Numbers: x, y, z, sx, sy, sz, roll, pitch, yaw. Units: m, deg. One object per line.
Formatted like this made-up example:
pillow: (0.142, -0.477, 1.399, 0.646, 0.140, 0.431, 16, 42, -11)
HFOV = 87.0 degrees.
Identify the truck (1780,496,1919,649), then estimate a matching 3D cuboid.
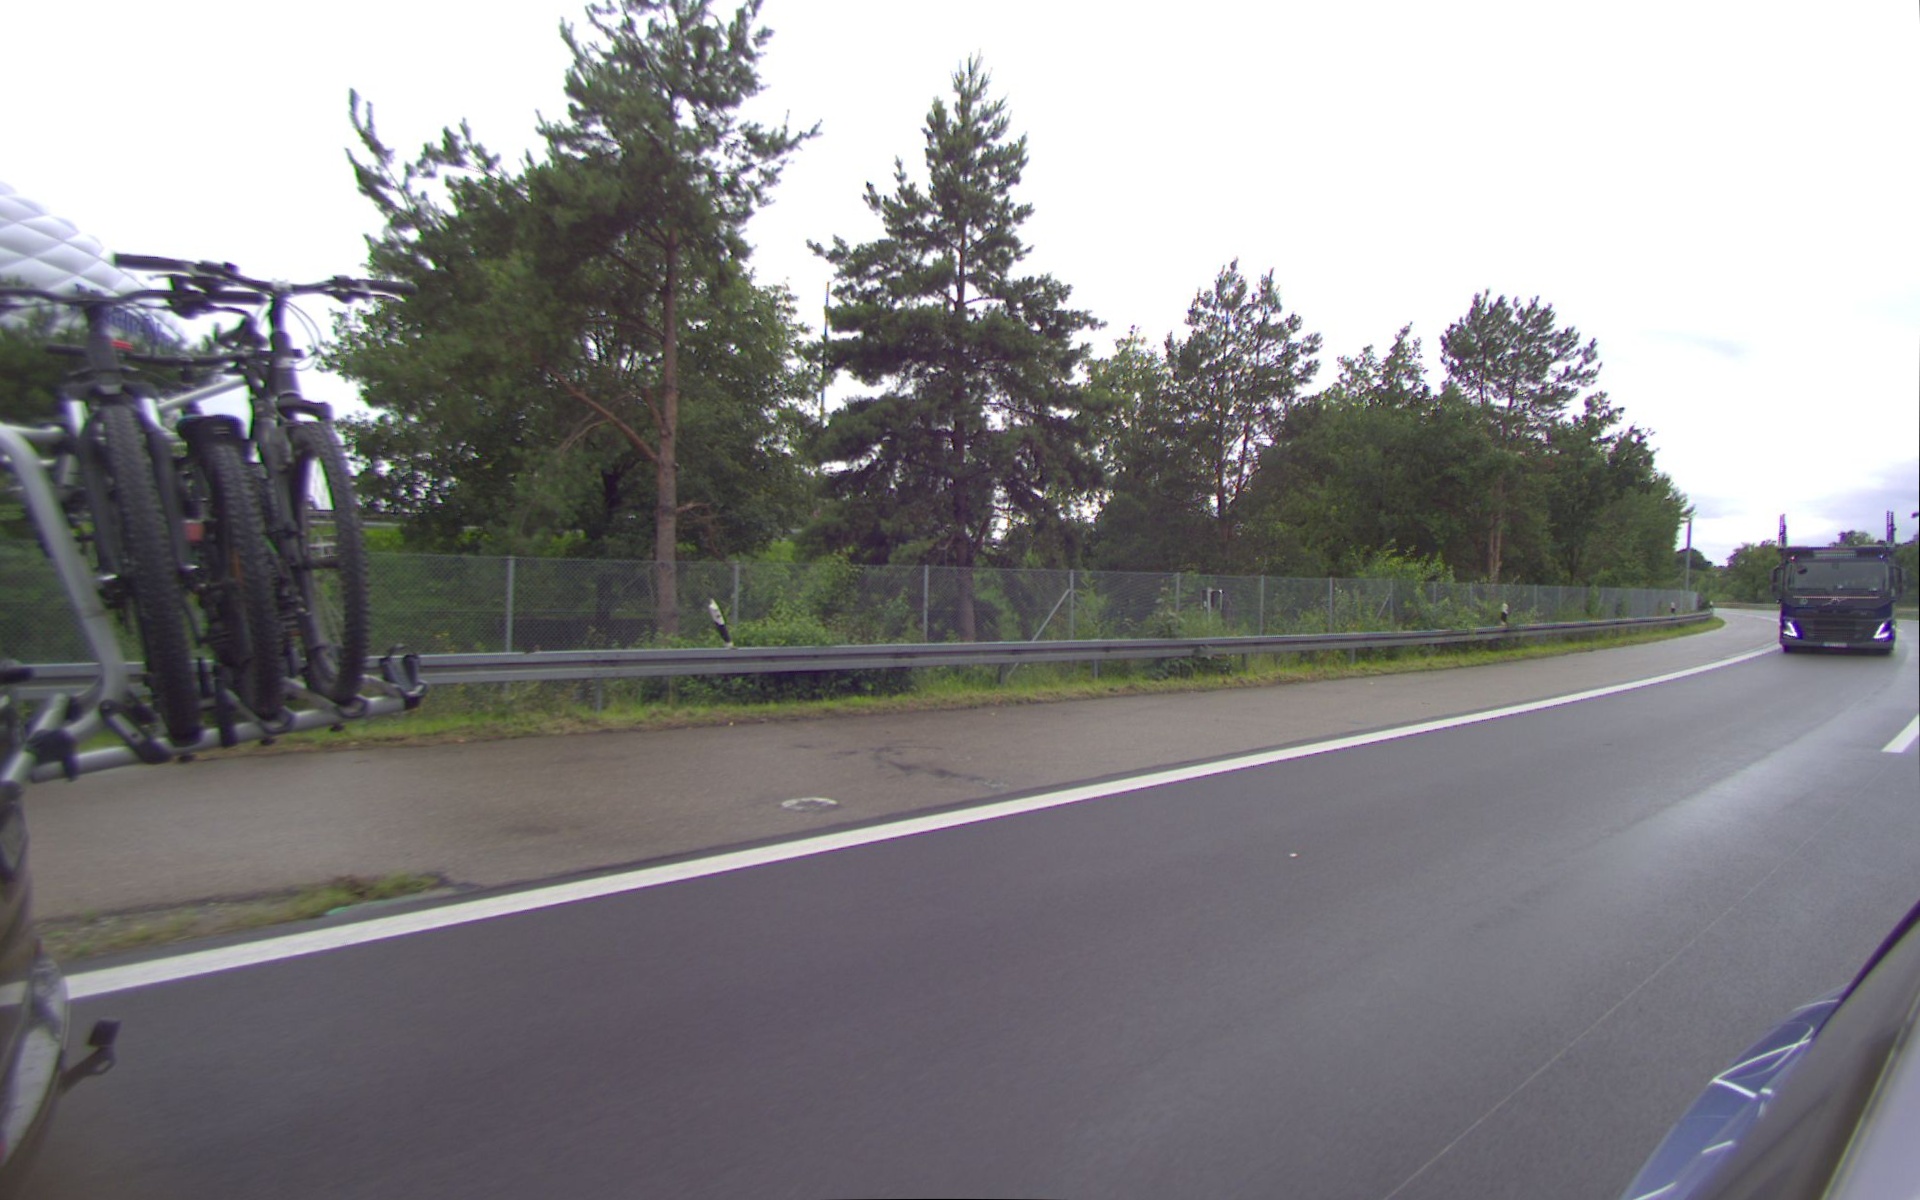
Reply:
truck: (27.256, -0.728, 30.806, 2.739, 4.018, 8.982, -1, -1, 44)

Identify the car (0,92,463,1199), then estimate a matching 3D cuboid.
car: (-3.942, 0.278, 1.081, 5.795, 2.293, 2.113, 0, 0, -42)
